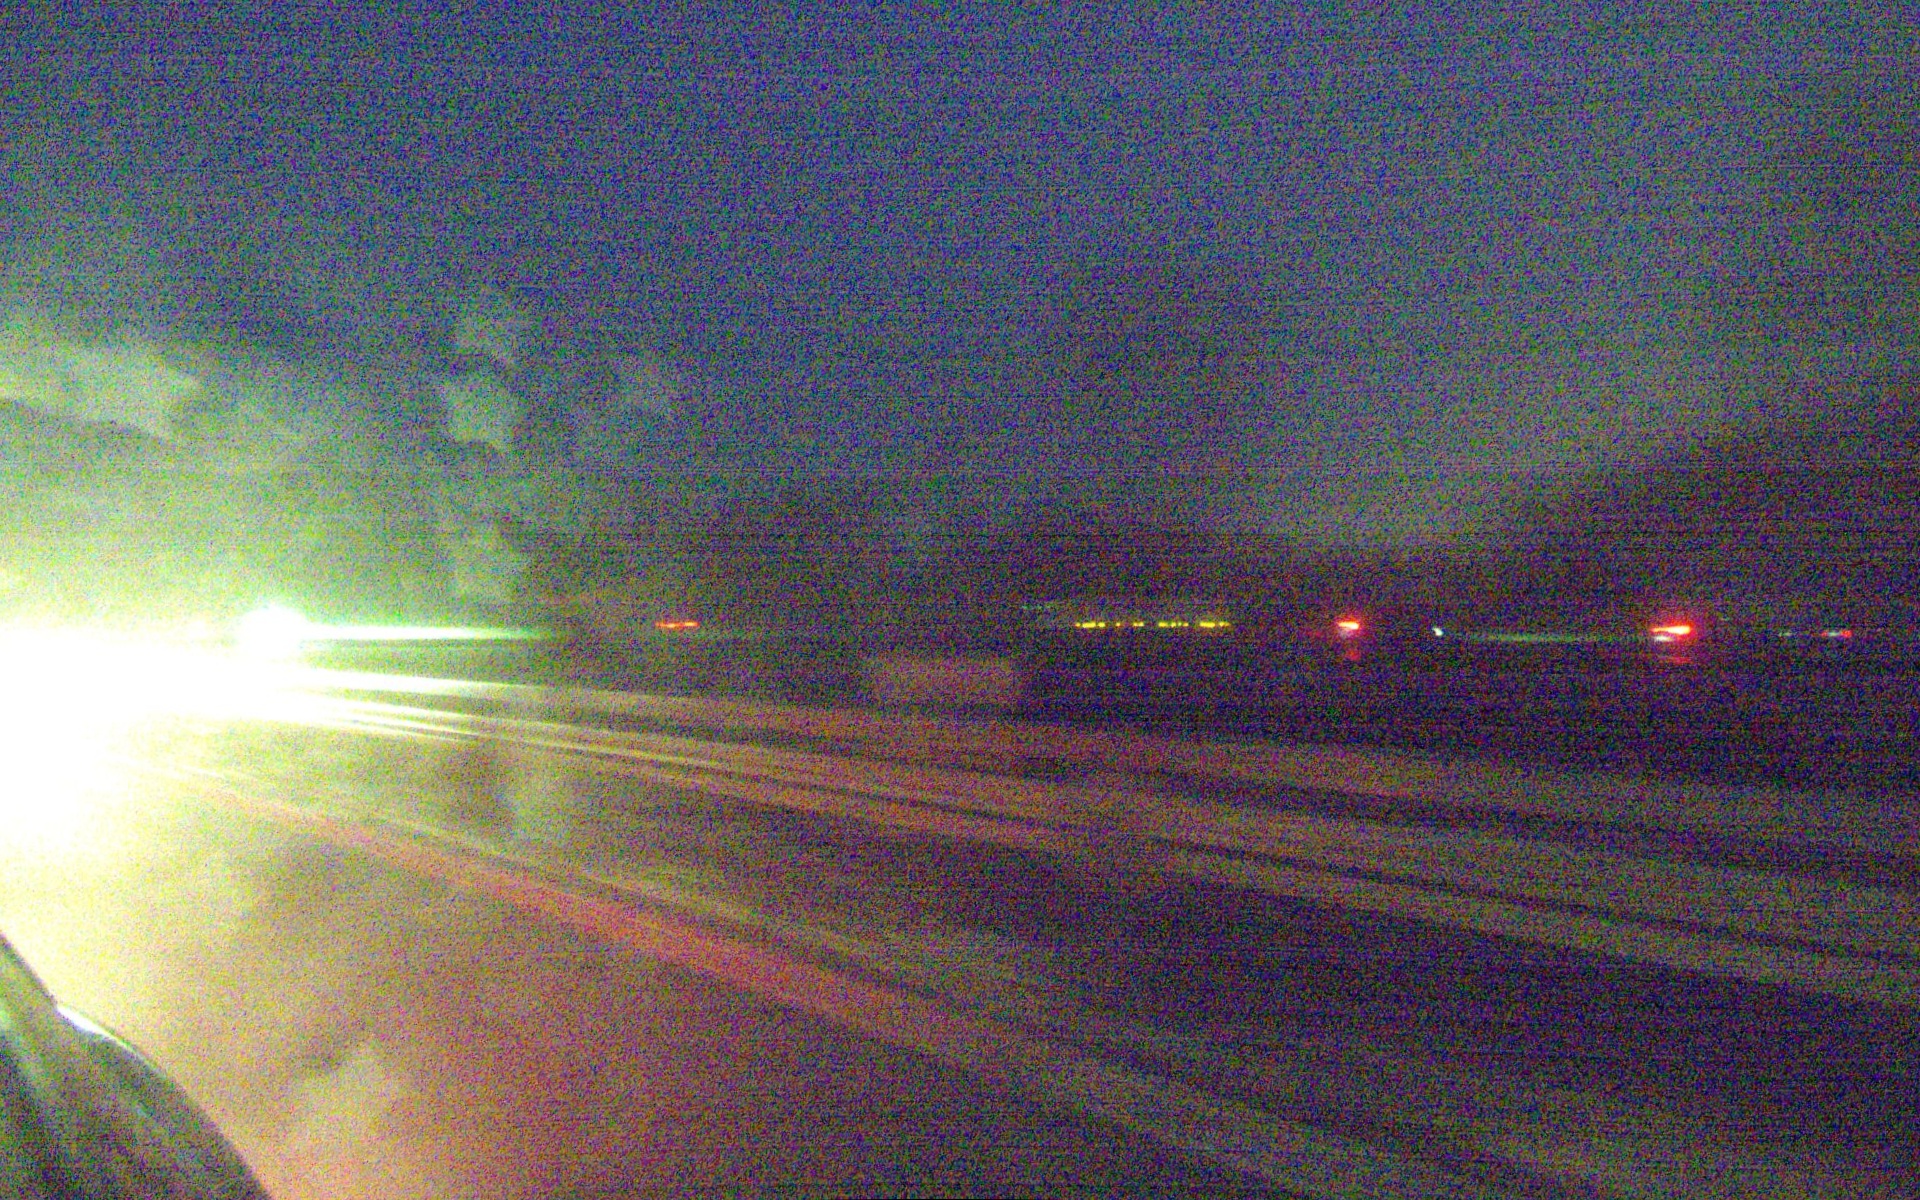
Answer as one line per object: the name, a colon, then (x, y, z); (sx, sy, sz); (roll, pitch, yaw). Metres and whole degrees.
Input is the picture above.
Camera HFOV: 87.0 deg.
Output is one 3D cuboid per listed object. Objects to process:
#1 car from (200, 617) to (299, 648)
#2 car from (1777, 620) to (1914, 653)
car: (-37.894, 1.712, 54.025); (4.056, 1.552, 1.888); (0, 0, 4)
car: (39.171, 1.591, 44.868); (4.368, 1.387, 1.764); (0, 0, 4)
